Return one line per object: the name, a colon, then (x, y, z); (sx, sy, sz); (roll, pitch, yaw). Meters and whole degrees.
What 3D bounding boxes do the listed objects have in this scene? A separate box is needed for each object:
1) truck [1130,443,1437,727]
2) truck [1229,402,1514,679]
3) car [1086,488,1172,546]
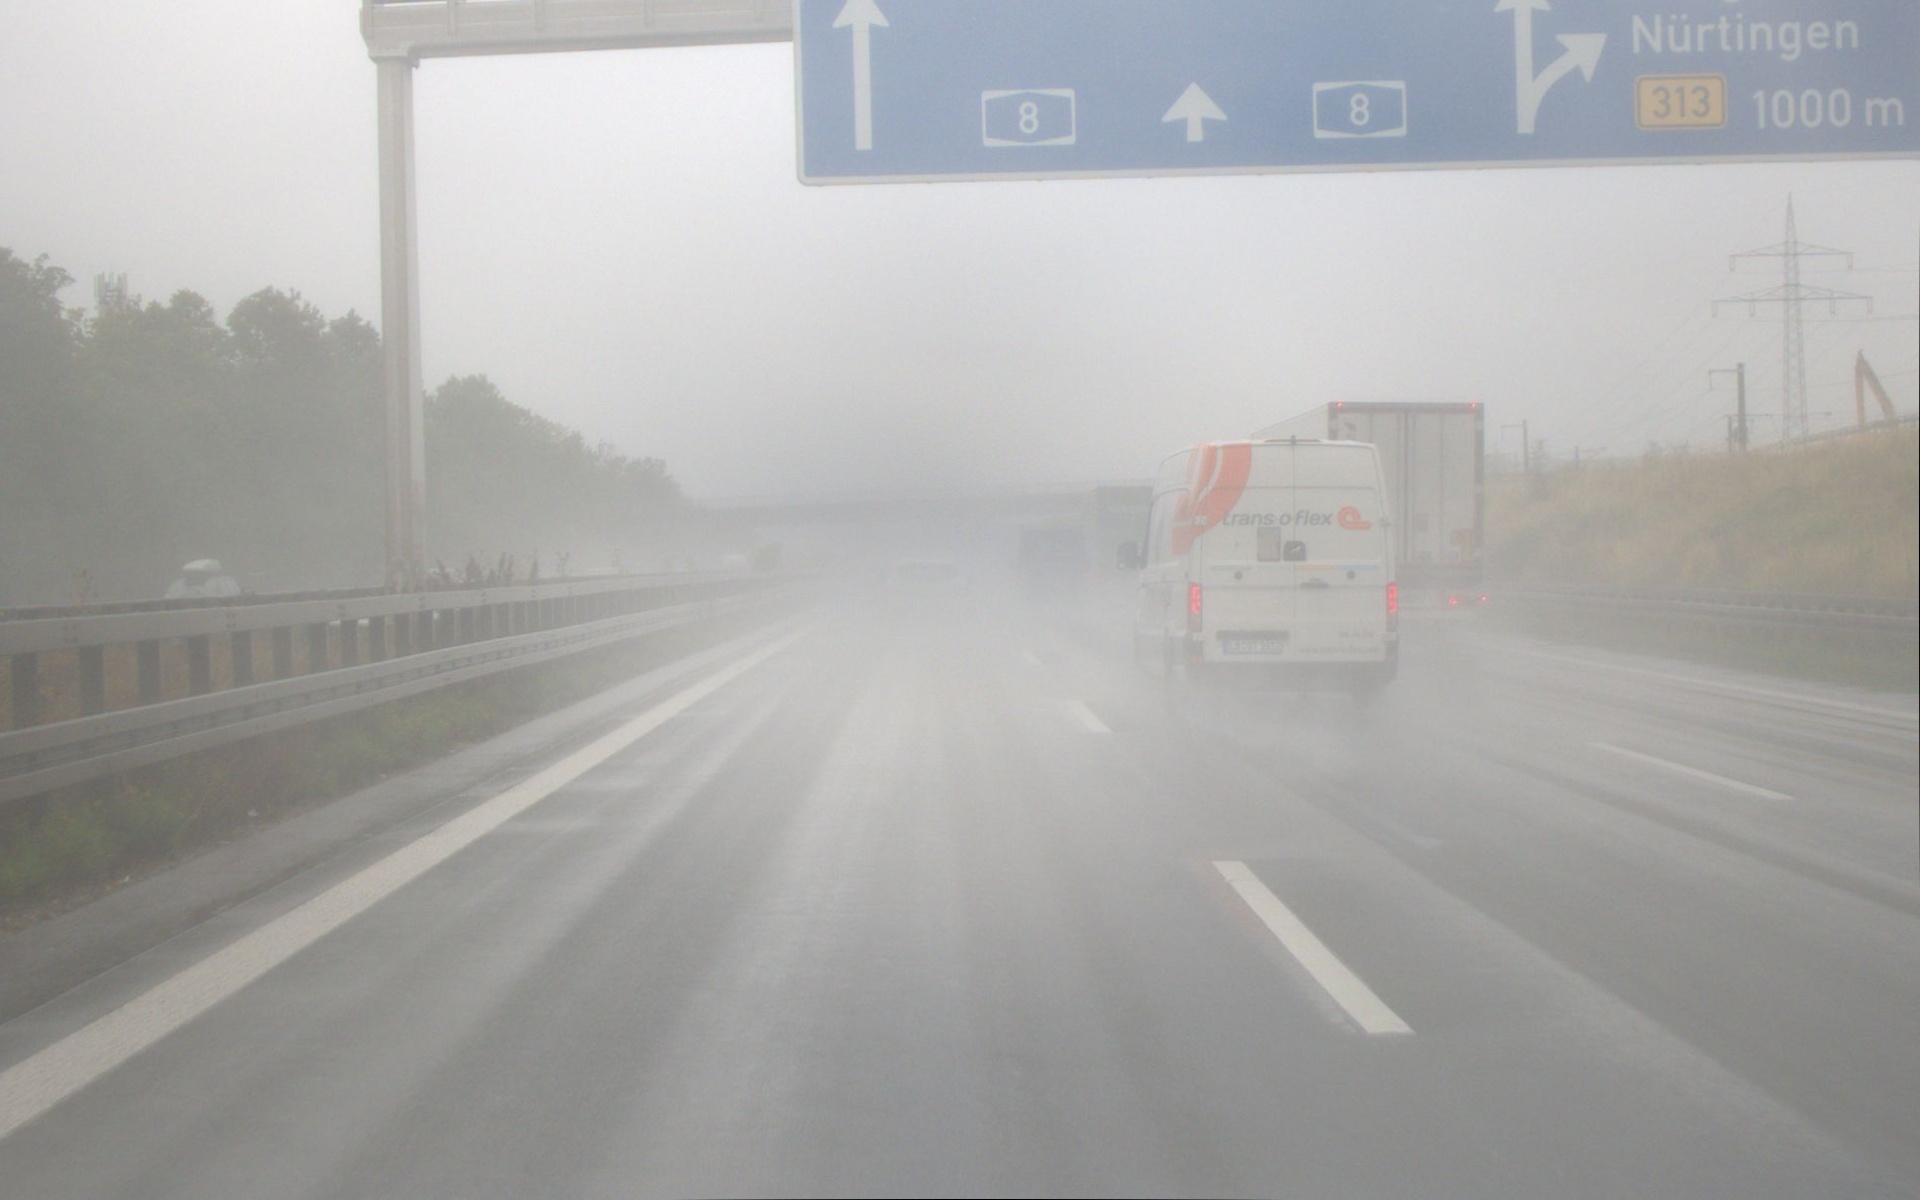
truck: (2.995, -0.213, 33.174); (2.419, 2.484, 5.560); (1, 2, 0)
truck: (7.472, -1.097, 65.312); (3.039, 4.572, 16.352); (1, 1, -1)
car: (6.047, -2.985, 123.717); (2.788, 2.006, 4.993); (1, 2, -1)
